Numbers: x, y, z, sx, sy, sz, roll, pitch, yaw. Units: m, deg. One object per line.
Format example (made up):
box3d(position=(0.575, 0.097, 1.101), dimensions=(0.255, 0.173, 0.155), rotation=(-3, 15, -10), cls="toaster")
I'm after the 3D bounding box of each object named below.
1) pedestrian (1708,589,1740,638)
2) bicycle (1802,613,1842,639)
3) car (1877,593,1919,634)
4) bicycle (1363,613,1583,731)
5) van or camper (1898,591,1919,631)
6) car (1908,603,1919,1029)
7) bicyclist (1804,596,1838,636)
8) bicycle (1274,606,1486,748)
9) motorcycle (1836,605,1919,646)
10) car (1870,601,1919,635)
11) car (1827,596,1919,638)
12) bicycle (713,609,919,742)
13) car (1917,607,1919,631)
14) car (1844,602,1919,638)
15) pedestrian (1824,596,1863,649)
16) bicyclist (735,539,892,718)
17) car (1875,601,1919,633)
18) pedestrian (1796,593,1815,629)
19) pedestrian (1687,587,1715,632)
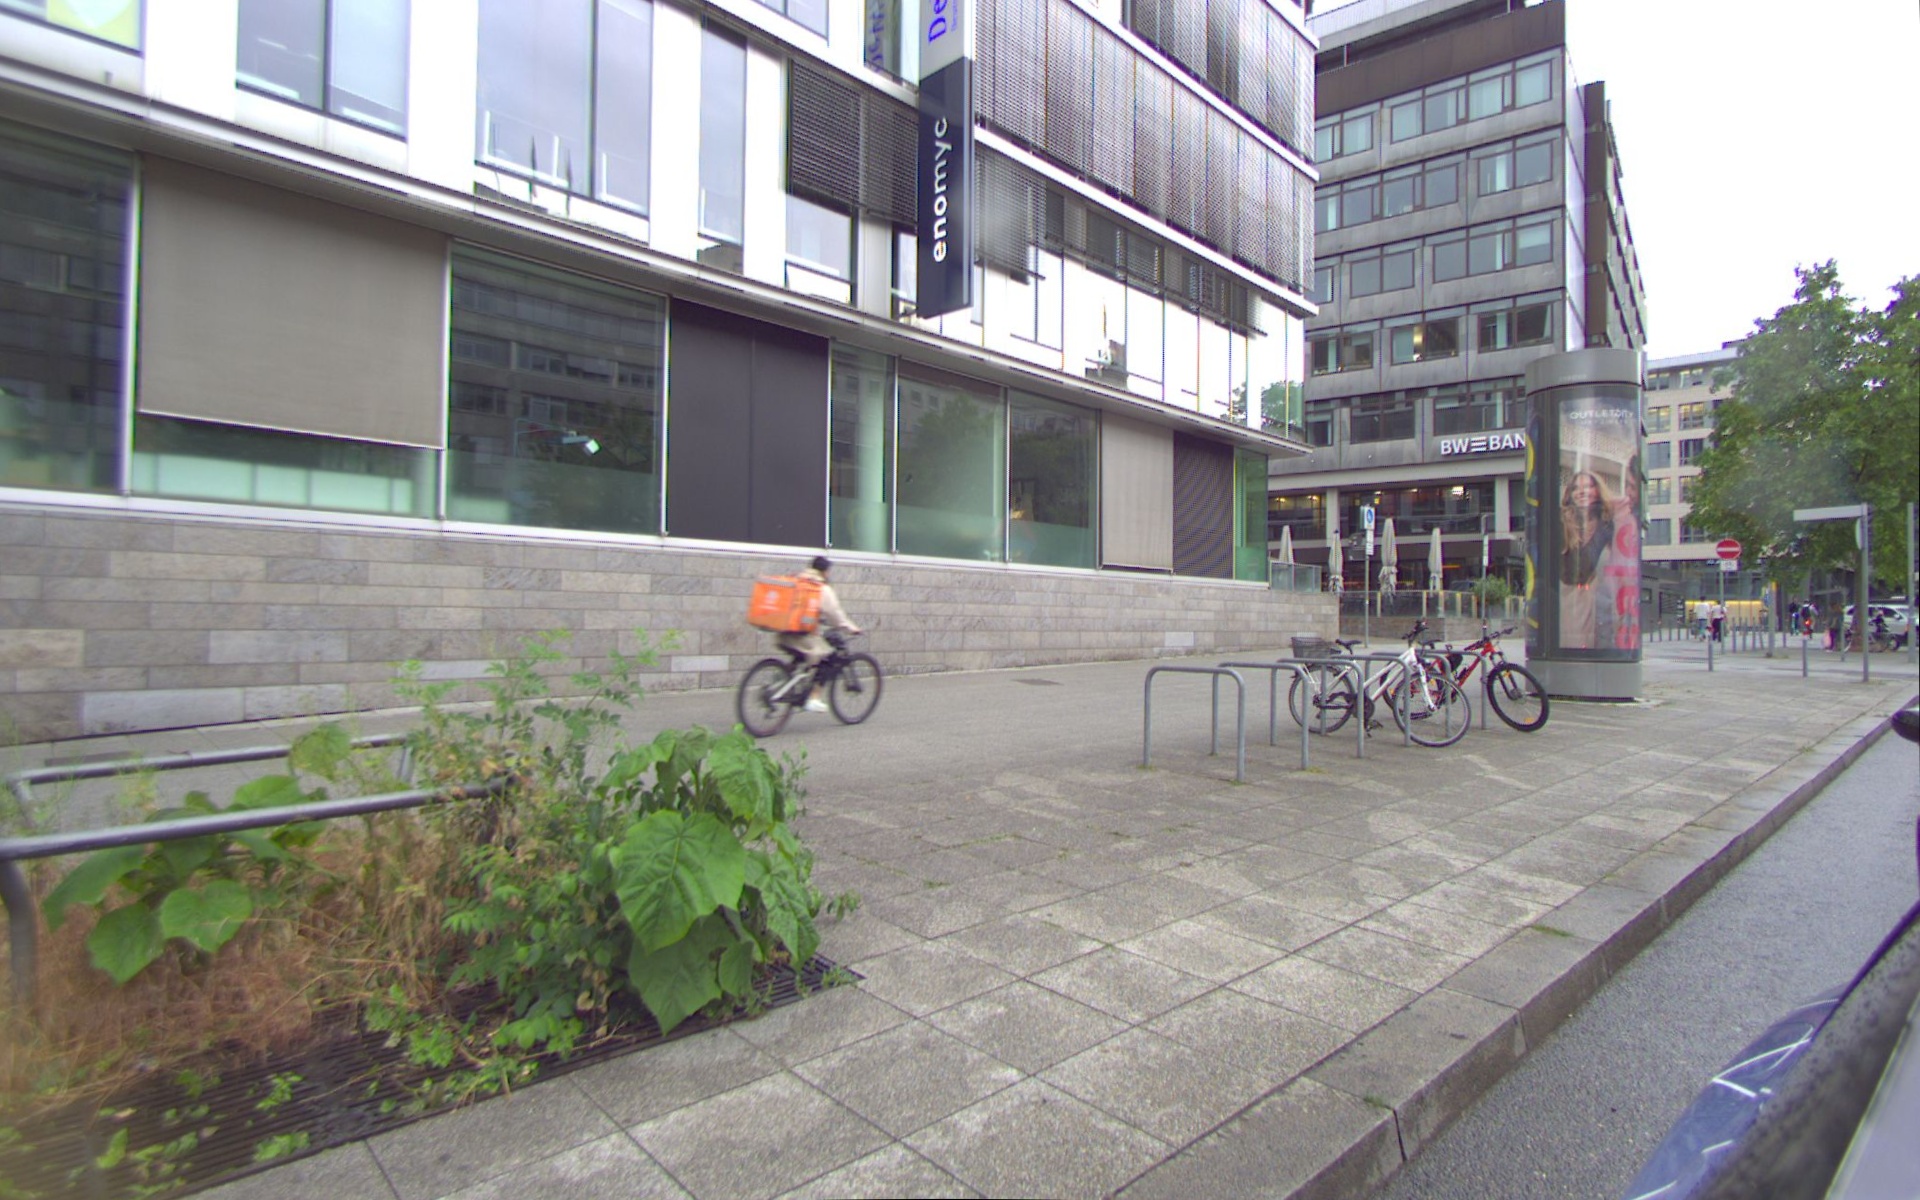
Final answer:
box3d(position=(32.465, 0.579, 43.015), dimensions=(0.739, 2.065, 0.852), rotation=(1, -2, -35), cls="pedestrian")
box3d(position=(40.098, 1.197, 47.083), dimensions=(1.939, 1.154, 0.777), rotation=(0, -4, -32), cls="bicycle")
box3d(position=(48.793, 0.667, 50.233), dimensions=(1.882, 2.018, 4.525), rotation=(0, -1, -12), cls="car")
box3d(position=(5.510, 0.719, 10.986), dimensions=(0.793, 1.118, 1.989), rotation=(1, 0, -37), cls="bicycle")
box3d(position=(61.339, 0.642, 61.434), dimensions=(2.267, 2.479, 6.275), rotation=(0, -1, -11), cls="van or camper")
box3d(position=(5.146, 0.728, 4.133), dimensions=(3.770, 1.435, 1.631), rotation=(0, -1, -44), cls="car")
box3d(position=(40.075, 0.761, 47.109), dimensions=(1.058, 1.772, 0.812), rotation=(-2, -3, -32), cls="bicyclist")
box3d(position=(4.050, 0.686, 9.895), dimensions=(0.648, 1.212, 1.841), rotation=(1, 0, -37), cls="bicycle")
box3d(position=(31.786, 0.869, 35.041), dimensions=(0.664, 1.375, 2.090), rotation=(1, -2, -34), cls="motorcycle")
box3d(position=(44.830, 0.800, 46.322), dimensions=(1.876, 1.557, 4.365), rotation=(0, -1, -14), cls="car")
box3d(position=(38.726, 0.690, 41.373), dimensions=(1.876, 1.671, 4.812), rotation=(0, -1, -11), cls="car")
box3d(position=(-1.337, 0.665, 9.856), dimensions=(0.987, 1.128, 2.047), rotation=(-1, -1, 28), cls="bicycle")
box3d(position=(58.727, 1.084, 58.934), dimensions=(1.673, 1.442, 4.068), rotation=(0, -1, -12), cls="car")
box3d(position=(41.068, 0.859, 43.279), dimensions=(1.877, 1.493, 4.729), rotation=(0, -1, -9), cls="car")
box3d(position=(28.580, 0.717, 32.741), dimensions=(0.708, 1.707, 0.529), rotation=(0, -2, 2), cls="pedestrian")
box3d(position=(-1.400, 0.287, 9.809), dimensions=(1.005, 1.603, 1.125), rotation=(-3, -3, 28), cls="bicyclist")
box3d(position=(46.783, 0.813, 48.223), dimensions=(1.876, 1.557, 4.399), rotation=(0, -1, -14), cls="car")
box3d(position=(44.673, 0.593, 53.467), dimensions=(0.719, 1.908, 0.646), rotation=(-2, -2, 43), cls="pedestrian")
box3d(position=(31.834, 0.404, 43.477), dimensions=(0.883, 1.893, 0.802), rotation=(1, -2, -42), cls="pedestrian")
